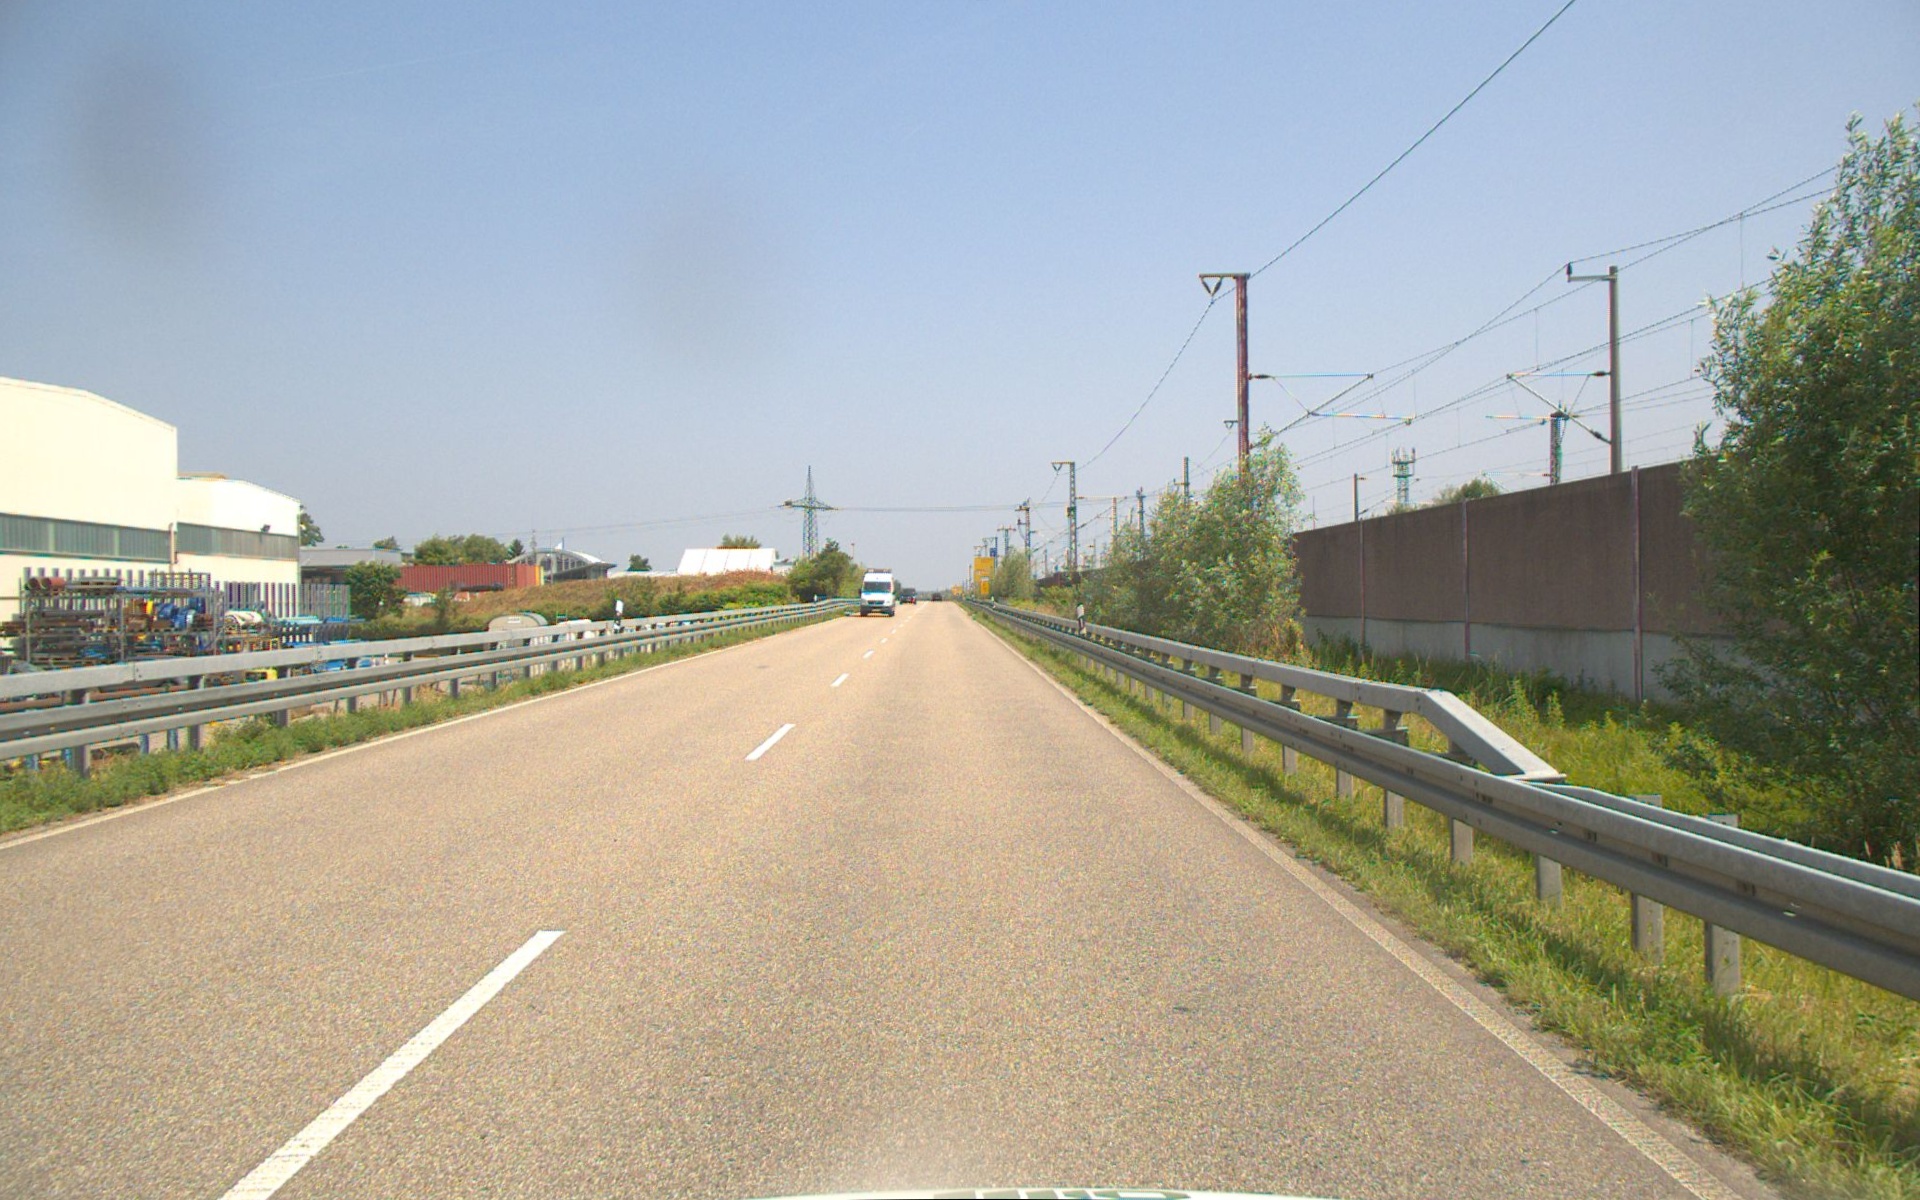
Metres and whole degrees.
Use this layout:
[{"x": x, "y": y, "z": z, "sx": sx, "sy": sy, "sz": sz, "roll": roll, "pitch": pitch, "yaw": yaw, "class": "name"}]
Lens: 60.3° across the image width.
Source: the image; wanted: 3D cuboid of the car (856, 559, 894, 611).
[{"x": -5.139, "y": -0.858, "z": 101.008, "sx": 2.037, "sy": 3.014, "sz": 6.728, "roll": 1, "pitch": 0, "yaw": -1, "class": "car"}]

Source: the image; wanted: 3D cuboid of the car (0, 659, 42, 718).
[{"x": -30.180, "y": 2.811, "z": 50.660, "sx": 3.192, "sy": 1.703, "sz": 1.465, "roll": -5, "pitch": 0, "yaw": -6, "class": "car"}]

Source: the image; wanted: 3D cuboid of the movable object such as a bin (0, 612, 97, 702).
[{"x": -31.470, "y": 1.959, "z": 54.784, "sx": 4.460, "sy": 2.726, "sz": 2.129, "roll": -5, "pitch": 0, "yaw": -9, "class": "movable object such as a bin"}]

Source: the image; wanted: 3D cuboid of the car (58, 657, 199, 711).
[{"x": -28.717, "y": 2.897, "z": 57.186, "sx": 3.911, "sy": 1.547, "sz": 1.722, "roll": -3, "pitch": 0, "yaw": -7, "class": "car"}]

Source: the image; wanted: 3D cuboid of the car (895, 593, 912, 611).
[{"x": -6.586, "y": 0.187, "z": 192.691, "sx": 1.854, "sy": 2.049, "sz": 5.368, "roll": 1, "pitch": 0, "yaw": -1, "class": "car"}]

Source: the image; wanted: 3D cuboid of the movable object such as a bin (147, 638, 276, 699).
[{"x": -26.882, "y": 2.445, "z": 59.477, "sx": 3.789, "sy": 2.049, "sz": 1.849, "roll": 1, "pitch": -1, "yaw": -8, "class": "movable object such as a bin"}]

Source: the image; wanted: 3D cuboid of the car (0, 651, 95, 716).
[{"x": -29.644, "y": 2.691, "z": 52.755, "sx": 3.070, "sy": 1.804, "sz": 1.674, "roll": -5, "pitch": 0, "yaw": -4, "class": "car"}]
